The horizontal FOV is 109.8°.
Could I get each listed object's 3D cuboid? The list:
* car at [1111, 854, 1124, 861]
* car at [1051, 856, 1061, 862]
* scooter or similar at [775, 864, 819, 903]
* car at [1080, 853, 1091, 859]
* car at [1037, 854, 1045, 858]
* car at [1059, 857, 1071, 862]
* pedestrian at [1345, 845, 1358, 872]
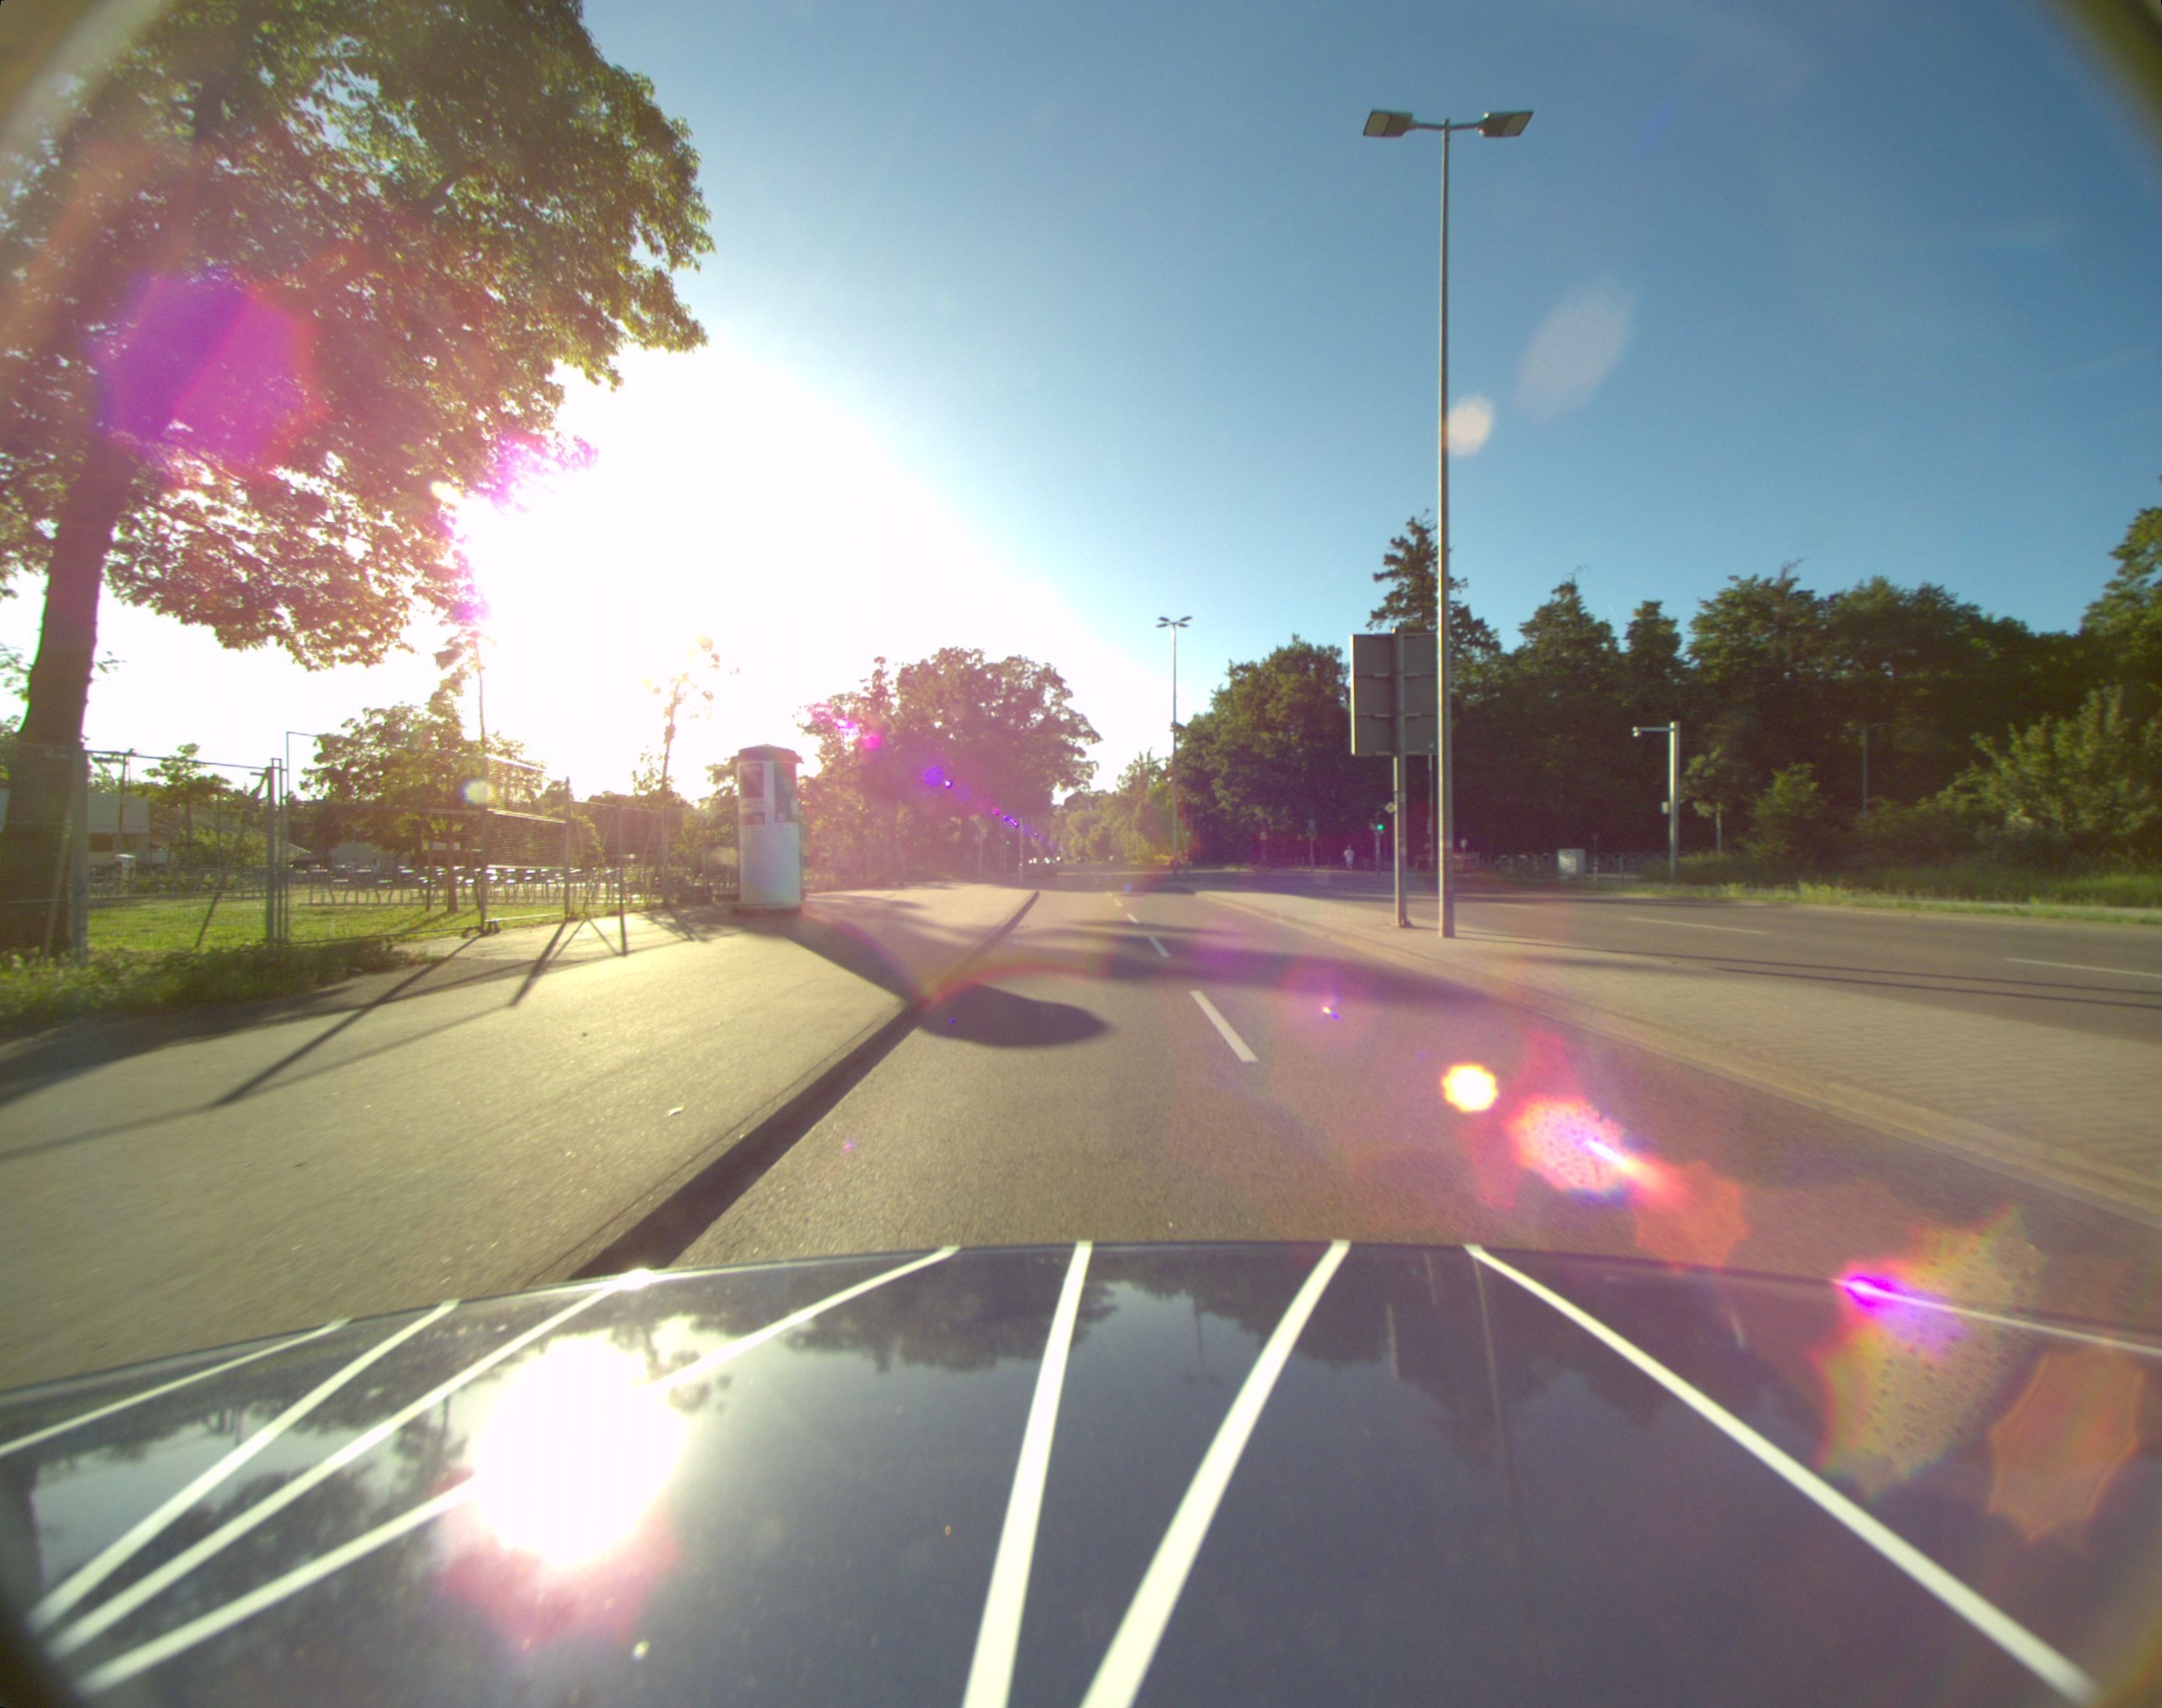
[{"bbox_3d":[6.522,0.614,136.016,1.619,1.346,4.007,0,0,-6],"label":"car"},{"bbox_3d":[-6.182,1.307,187.515,1.842,1.395,3.997,-2,0,-9],"label":"car"},{"bbox_3d":[-9.217,0.934,24.679,1.303,1.230,0.334,0,0,-34],"label":"scooter or similar"},{"bbox_3d":[0.926,0.522,175.641,1.875,1.346,4.006,0,0,-9],"label":"car"},{"bbox_3d":[-13.459,0.786,254.771,1.877,1.346,4.003,0,0,-19],"label":"car"},{"bbox_3d":[-4.440,1.611,209.586,2.134,1.346,4.404,0,0,-16],"label":"car"},{"bbox_3d":[18.153,0.290,51.010,0.691,1.764,0.734,0,0,3],"label":"pedestrian"}]
